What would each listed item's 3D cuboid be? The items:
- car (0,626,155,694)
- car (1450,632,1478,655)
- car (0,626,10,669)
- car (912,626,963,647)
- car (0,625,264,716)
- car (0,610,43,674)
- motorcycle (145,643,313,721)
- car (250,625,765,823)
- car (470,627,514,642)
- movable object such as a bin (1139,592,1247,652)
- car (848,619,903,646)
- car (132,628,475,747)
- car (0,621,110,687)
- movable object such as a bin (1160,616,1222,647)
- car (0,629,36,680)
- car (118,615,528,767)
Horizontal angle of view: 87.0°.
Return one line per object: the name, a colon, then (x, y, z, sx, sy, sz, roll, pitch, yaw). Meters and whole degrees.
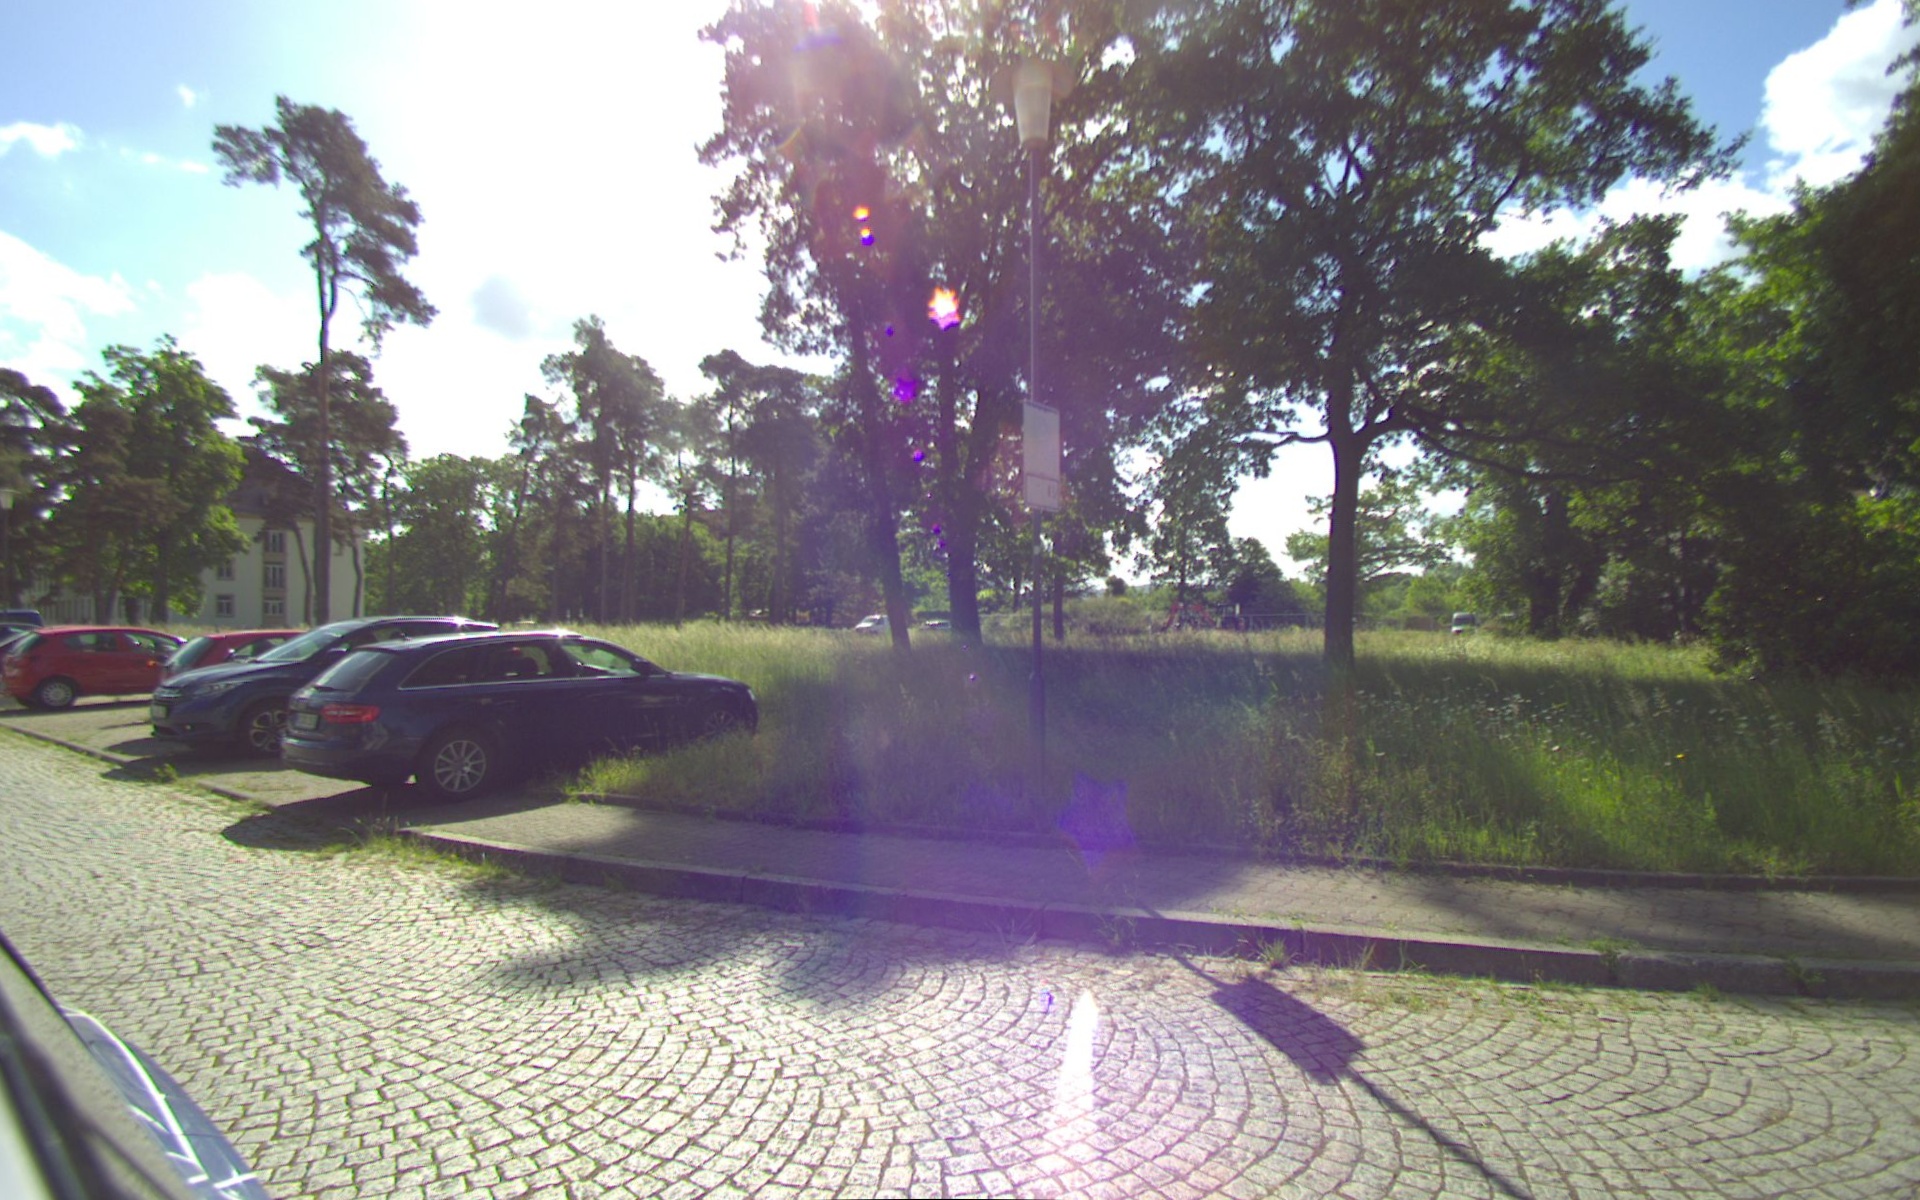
car: (-21.942, 1.413, 24.172, 1.862, 1.460, 3.889, -2, 0, 35)
car: (42.700, 3.654, 85.781, 1.983, 1.868, 4.103, -1, -2, 24)
car: (-35.377, 1.682, 34.481, 1.821, 1.486, 4.158, -2, -1, 37)
car: (-1.797, 2.934, 81.224, 1.910, 1.617, 4.188, -1, -2, 38)
car: (-15.990, 1.273, 19.474, 1.838, 1.472, 3.889, -2, -1, 35)
car: (-31.384, 1.338, 30.940, 2.002, 1.983, 4.674, -1, 0, 37)
motorcycle: (-12.203, 1.334, 16.980, 0.576, 1.170, 2.220, -1, -1, 38)
car: (-4.257, 1.021, 10.105, 1.919, 1.456, 4.316, -2, -1, 40)
car: (-52.294, 3.825, 113.145, 1.718, 1.593, 4.055, -1, -2, 38)
movable object such as a bin: (15.304, 1.459, 66.753, 6.724, 3.759, 3.914, 0, -2, 13)
car: (-7.053, 2.743, 84.975, 1.954, 2.180, 4.799, -1, -2, 38)
car: (-9.543, 1.171, 14.949, 1.839, 1.444, 3.885, -2, -1, 38)
car: (-24.282, 1.386, 25.598, 1.970, 1.579, 3.919, -2, -1, 35)
movable object such as a bin: (16.452, 2.266, 72.348, 2.489, 2.142, 5.688, 0, -2, -7)
car: (-29.448, 1.629, 29.242, 1.679, 1.451, 3.784, -1, 0, 34)
car: (-7.991, 1.025, 13.034, 1.881, 1.591, 4.097, -2, -1, 37)
